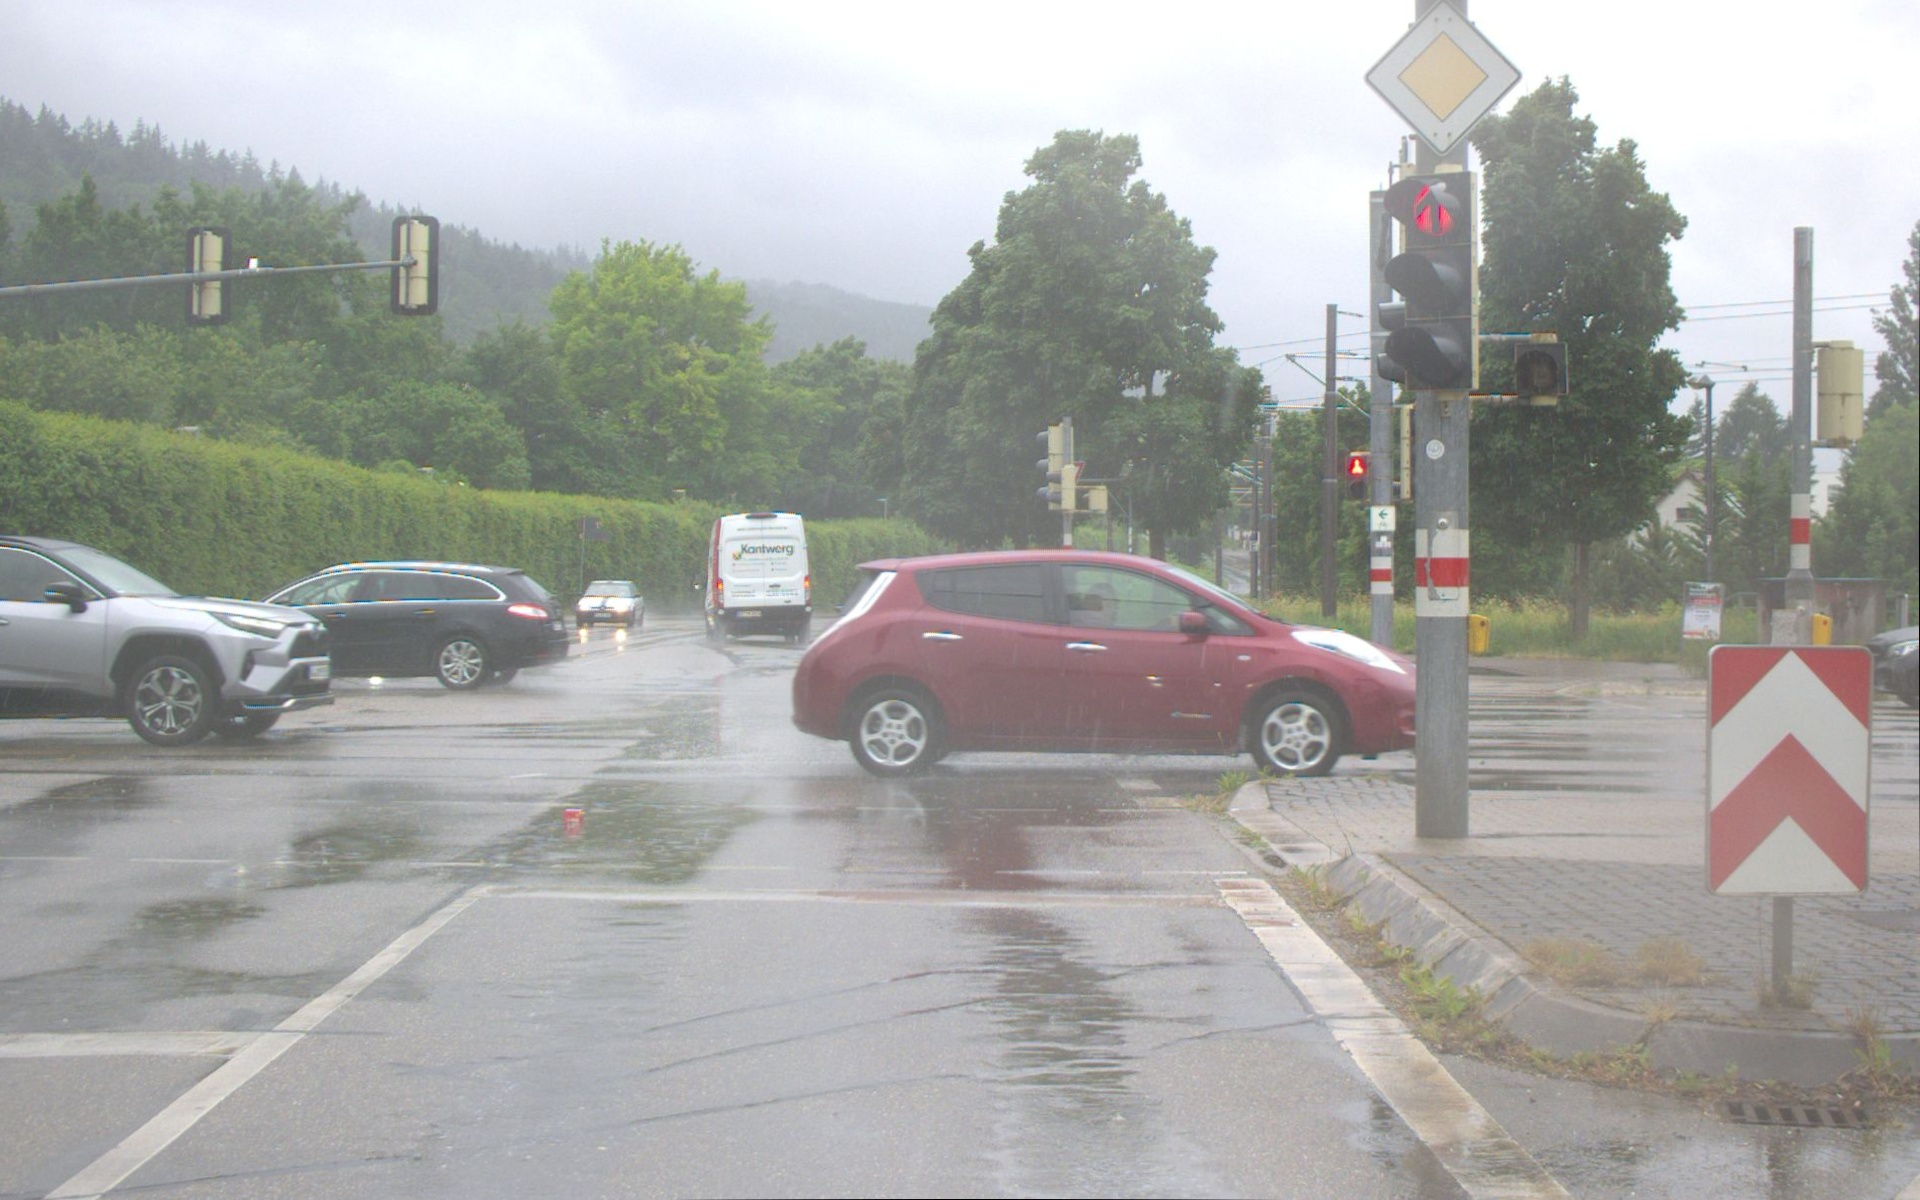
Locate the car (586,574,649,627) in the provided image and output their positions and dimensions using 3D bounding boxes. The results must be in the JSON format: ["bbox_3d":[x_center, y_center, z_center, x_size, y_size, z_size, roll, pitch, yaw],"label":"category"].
[{"bbox_3d":[-9.944,0.004,100.097,1.558,1.476,3.361,0,1,-1],"label":"car"}]

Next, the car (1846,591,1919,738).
[{"bbox_3d":[12.262,0.689,37.727,4.670,1.548,1.822,0,1,5],"label":"car"}]

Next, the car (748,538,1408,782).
[{"bbox_3d":[0.848,0.375,23.689,4.376,1.574,1.732,1,1,6],"label":"car"}]

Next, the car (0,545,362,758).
[{"bbox_3d":[-7.303,0.361,27.647,4.528,1.574,1.912,1,1,7],"label":"car"}]

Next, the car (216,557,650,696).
[{"bbox_3d":[-6.011,0.292,39.540,4.670,1.548,1.822,0,1,3],"label":"car"}]

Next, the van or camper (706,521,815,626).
[{"bbox_3d":[-4.238,-0.595,73.759,2.153,2.162,4.865,0,1,-1],"label":"van or camper"}]
